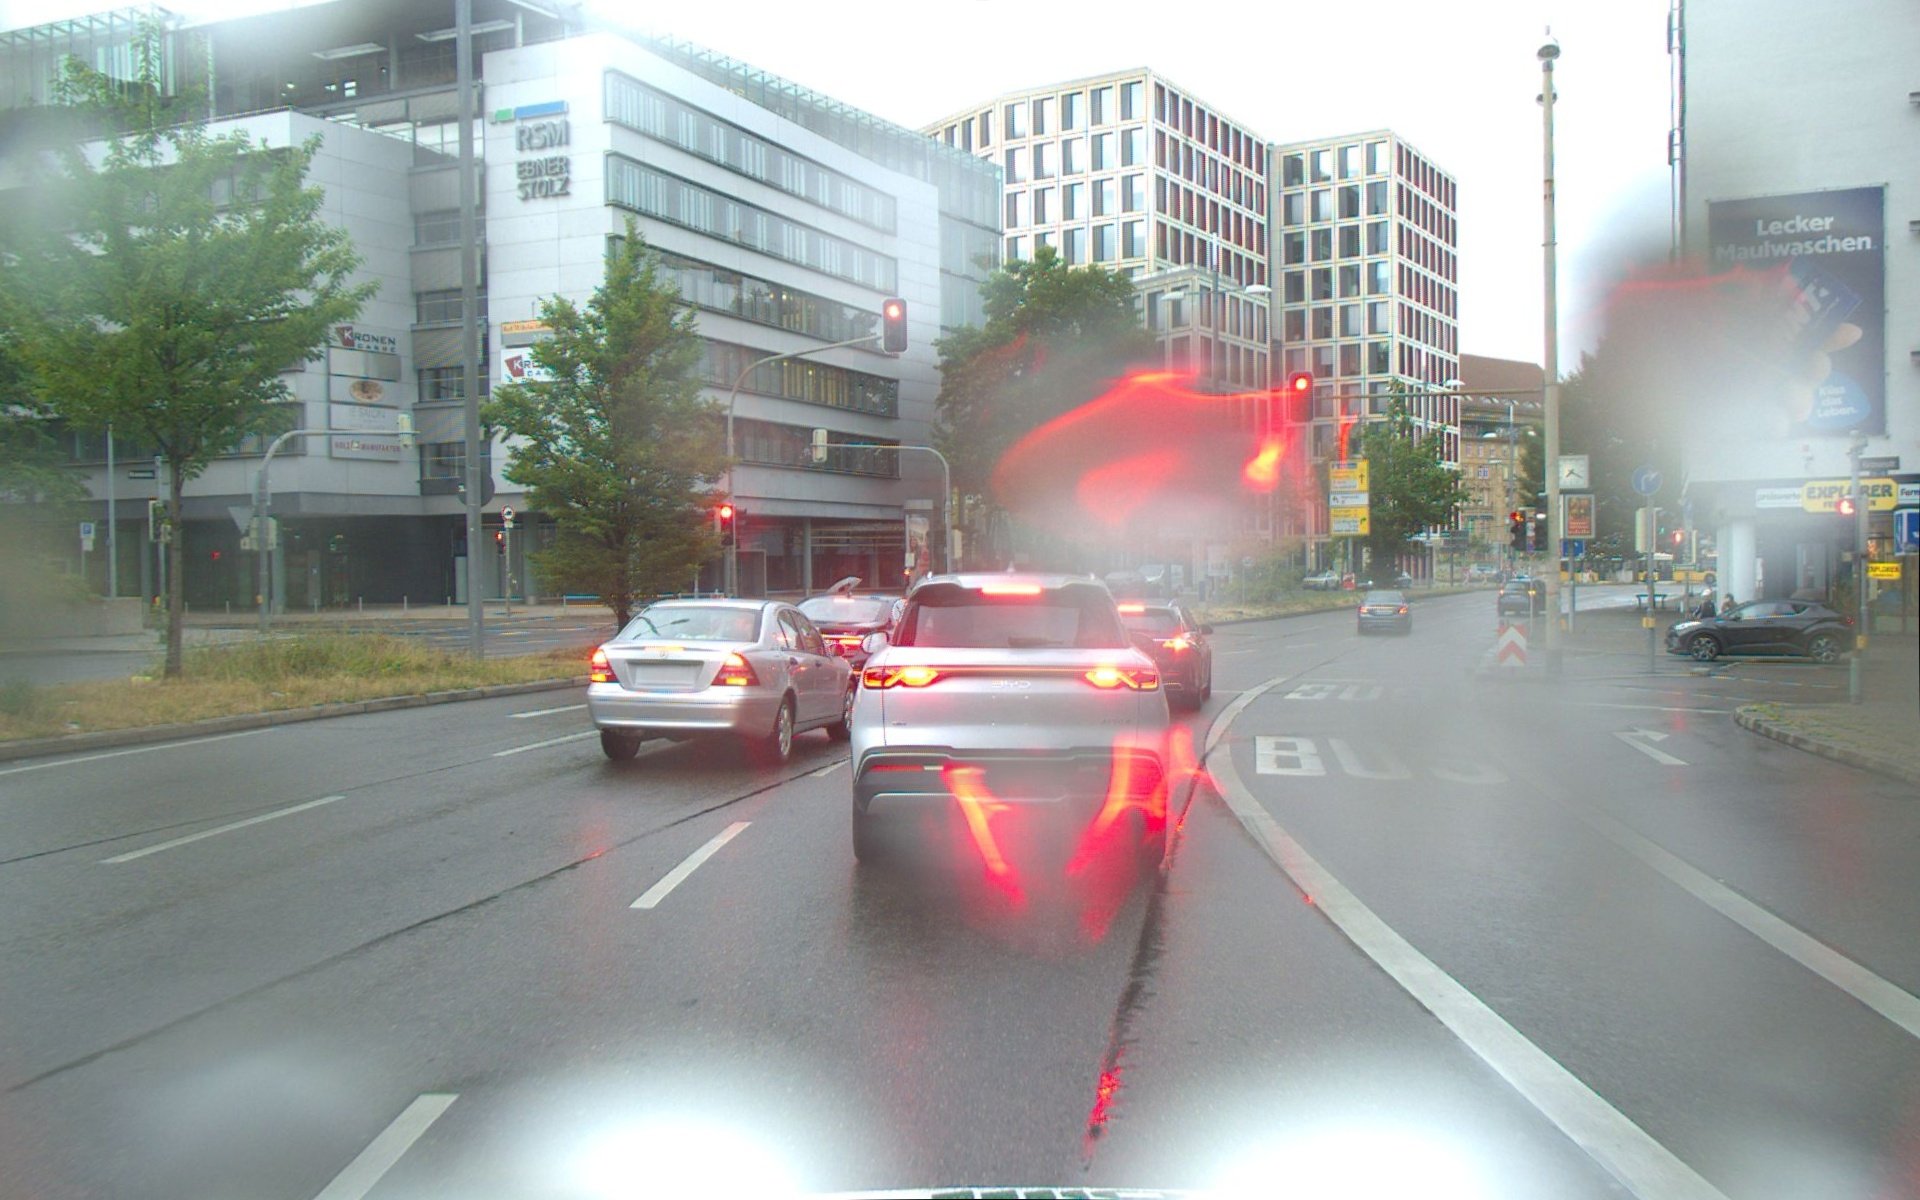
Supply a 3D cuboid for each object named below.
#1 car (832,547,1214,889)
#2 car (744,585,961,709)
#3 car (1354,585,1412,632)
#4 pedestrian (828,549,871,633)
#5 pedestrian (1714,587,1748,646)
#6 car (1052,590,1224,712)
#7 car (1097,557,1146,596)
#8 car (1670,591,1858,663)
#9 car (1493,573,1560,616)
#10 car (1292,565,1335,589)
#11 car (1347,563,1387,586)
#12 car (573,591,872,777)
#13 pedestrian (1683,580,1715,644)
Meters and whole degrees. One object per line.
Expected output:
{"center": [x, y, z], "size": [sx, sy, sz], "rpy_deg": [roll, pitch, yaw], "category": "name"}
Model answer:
{"center": [0.301, 0.581, 10.688], "size": [1.953, 1.739, 4.482], "rpy_deg": [0, 0, -1], "category": "car"}
{"center": [-1.395, 0.585, 23.145], "size": [1.913, 1.557, 4.003], "rpy_deg": [0, 0, 14], "category": "car"}
{"center": [14.738, 0.273, 57.601], "size": [1.869, 1.536, 4.360], "rpy_deg": [1, 1, 15], "category": "car"}
{"center": [-2.367, -0.193, 35.494], "size": [0.903, 1.768, 0.729], "rpy_deg": [0, 0, -2], "category": "pedestrian"}
{"center": [20.334, 0.426, 43.622], "size": [0.712, 1.551, 0.760], "rpy_deg": [0, -1, 18], "category": "pedestrian"}
{"center": [2.617, 0.637, 23.450], "size": [1.913, 1.557, 4.003], "rpy_deg": [0, 0, 14], "category": "car"}
{"center": [9.580, -1.353, 97.795], "size": [1.701, 2.199, 4.494], "rpy_deg": [1, 0, 21], "category": "car"}
{"center": [19.423, 0.620, 40.148], "size": [3.905, 1.579, 2.000], "rpy_deg": [2, 1, 21], "category": "car"}
{"center": [24.830, -0.245, 72.469], "size": [2.008, 1.796, 4.349], "rpy_deg": [2, 1, 29], "category": "car"}
{"center": [26.961, -1.785, 126.111], "size": [1.956, 1.735, 4.301], "rpy_deg": [1, 2, 30], "category": "car"}
{"center": [31.863, -1.997, 129.534], "size": [1.957, 1.735, 3.992], "rpy_deg": [1, 2, 31], "category": "car"}
{"center": [-2.091, 0.683, 15.790], "size": [1.646, 1.512, 4.200], "rpy_deg": [0, 0, 9], "category": "car"}
{"center": [19.702, 0.313, 44.092], "size": [0.712, 1.698, 0.691], "rpy_deg": [0, -1, 18], "category": "pedestrian"}
